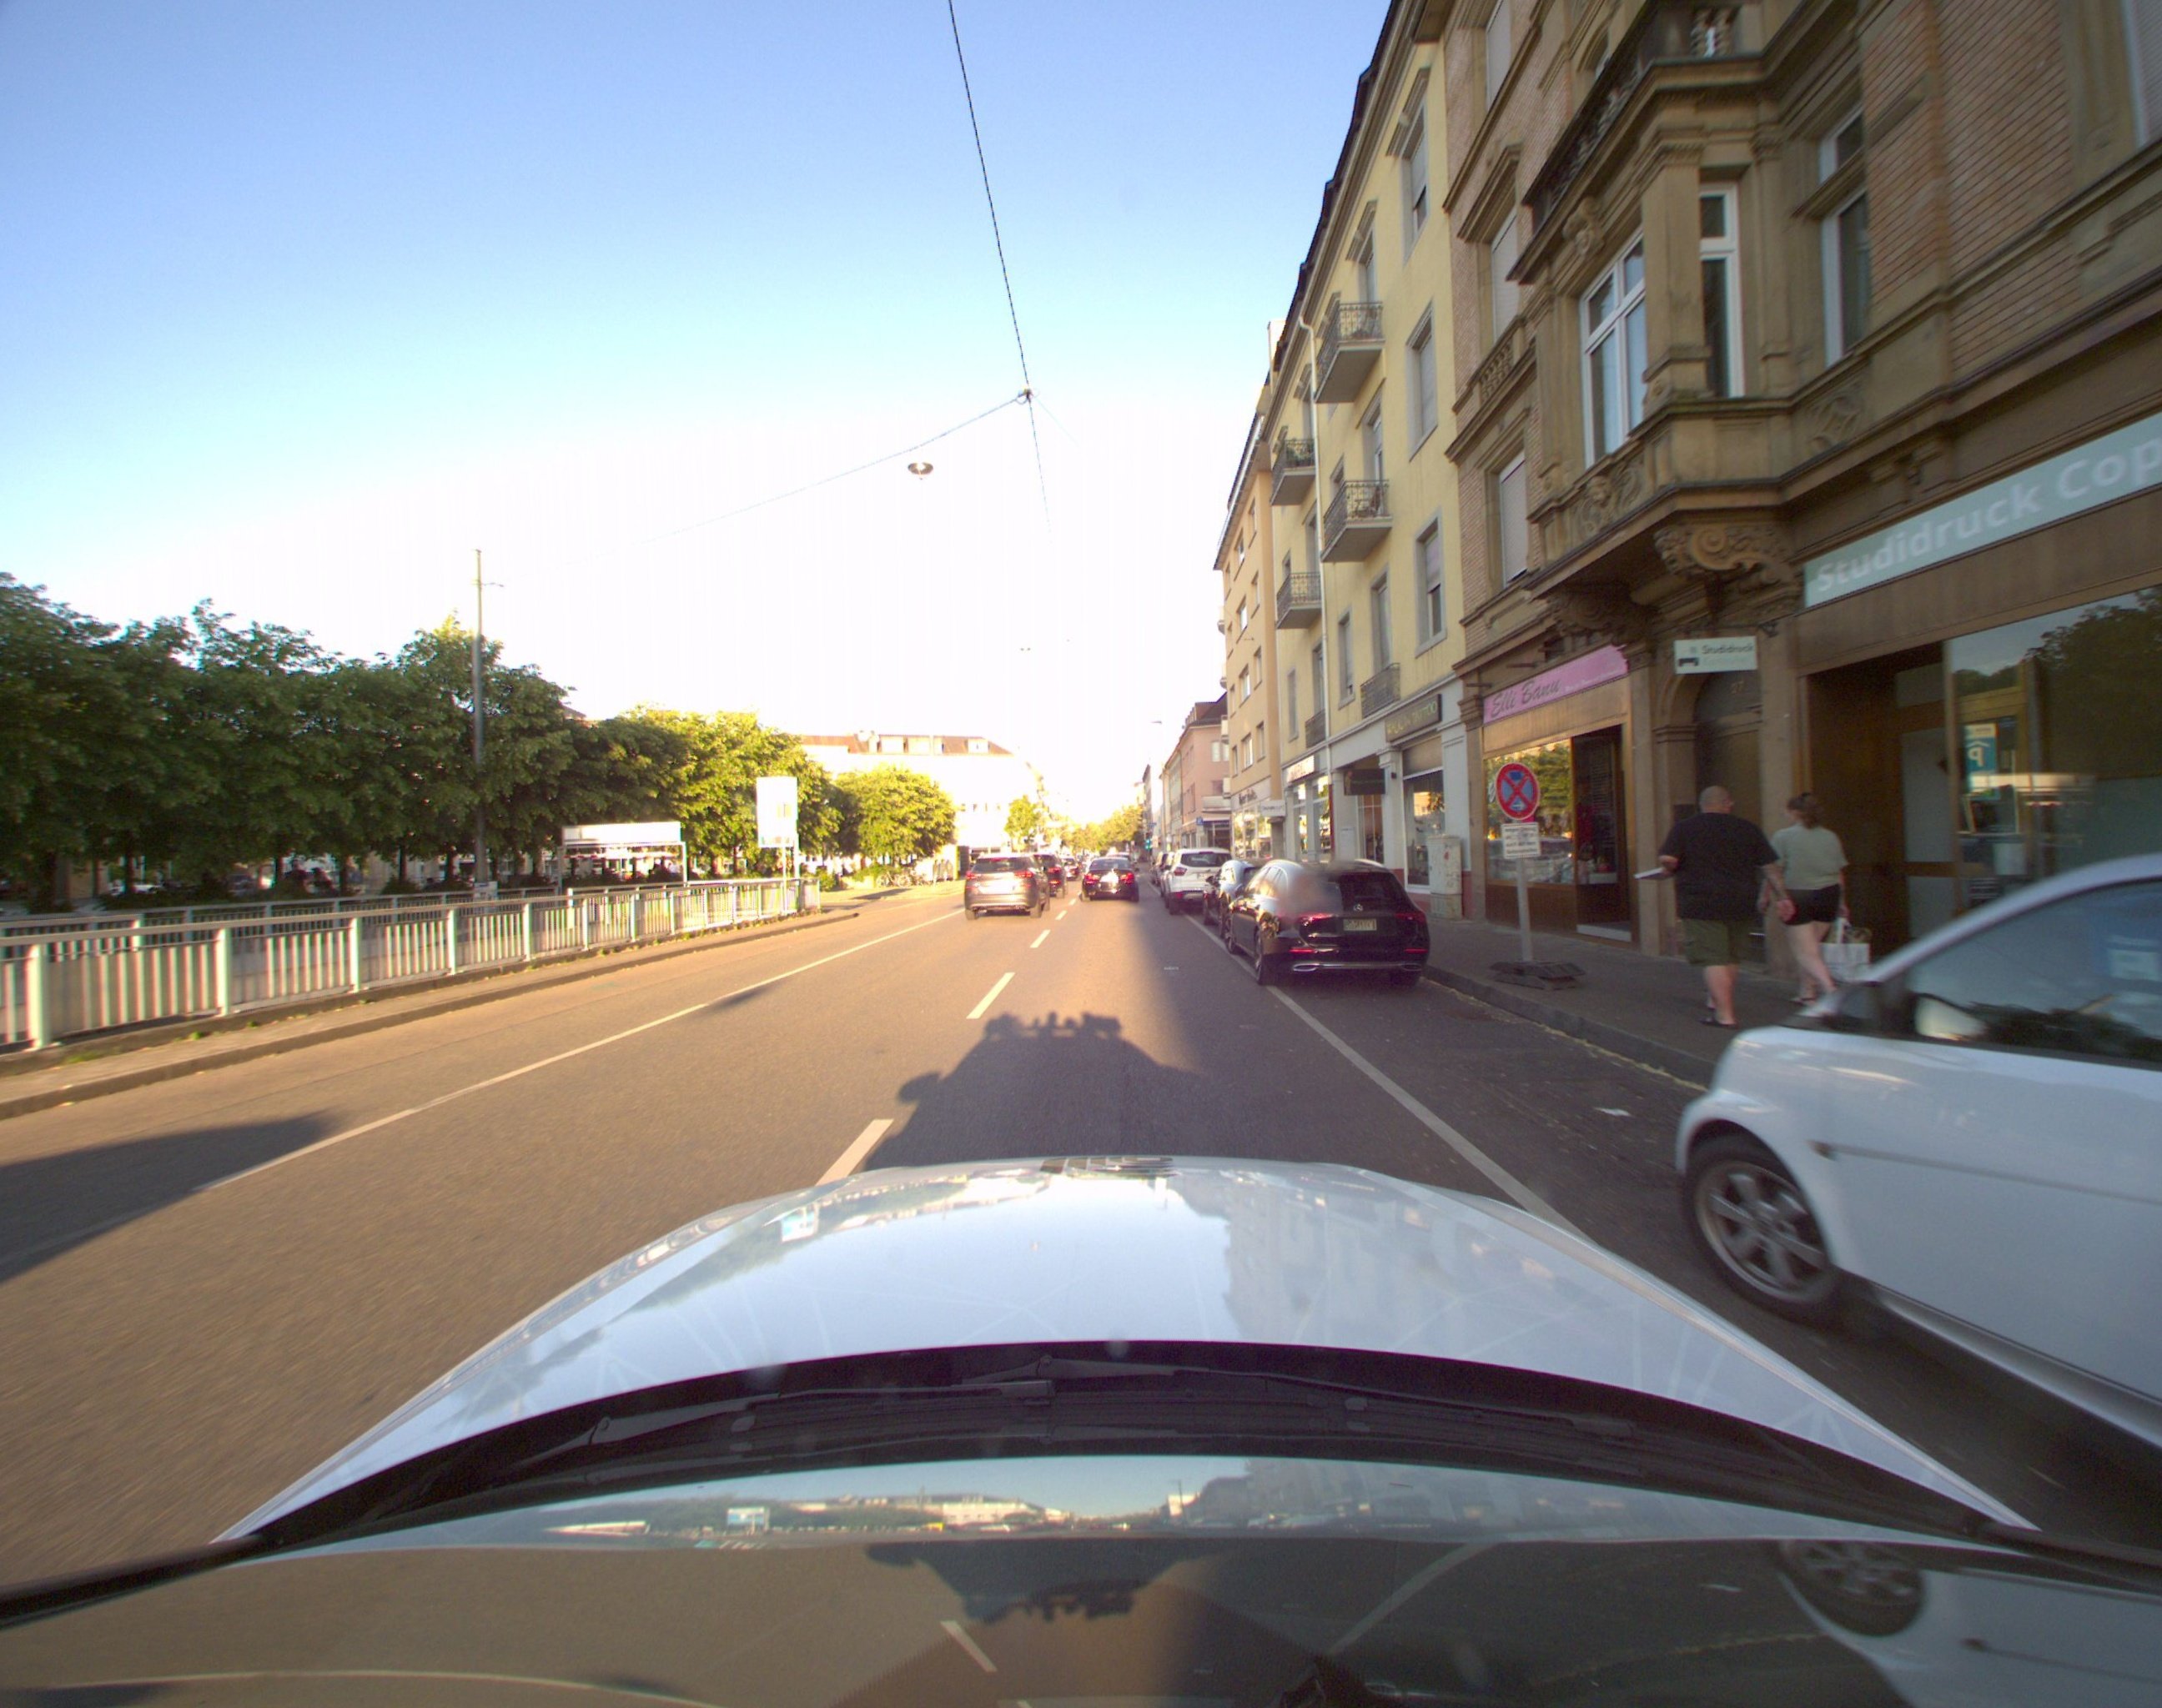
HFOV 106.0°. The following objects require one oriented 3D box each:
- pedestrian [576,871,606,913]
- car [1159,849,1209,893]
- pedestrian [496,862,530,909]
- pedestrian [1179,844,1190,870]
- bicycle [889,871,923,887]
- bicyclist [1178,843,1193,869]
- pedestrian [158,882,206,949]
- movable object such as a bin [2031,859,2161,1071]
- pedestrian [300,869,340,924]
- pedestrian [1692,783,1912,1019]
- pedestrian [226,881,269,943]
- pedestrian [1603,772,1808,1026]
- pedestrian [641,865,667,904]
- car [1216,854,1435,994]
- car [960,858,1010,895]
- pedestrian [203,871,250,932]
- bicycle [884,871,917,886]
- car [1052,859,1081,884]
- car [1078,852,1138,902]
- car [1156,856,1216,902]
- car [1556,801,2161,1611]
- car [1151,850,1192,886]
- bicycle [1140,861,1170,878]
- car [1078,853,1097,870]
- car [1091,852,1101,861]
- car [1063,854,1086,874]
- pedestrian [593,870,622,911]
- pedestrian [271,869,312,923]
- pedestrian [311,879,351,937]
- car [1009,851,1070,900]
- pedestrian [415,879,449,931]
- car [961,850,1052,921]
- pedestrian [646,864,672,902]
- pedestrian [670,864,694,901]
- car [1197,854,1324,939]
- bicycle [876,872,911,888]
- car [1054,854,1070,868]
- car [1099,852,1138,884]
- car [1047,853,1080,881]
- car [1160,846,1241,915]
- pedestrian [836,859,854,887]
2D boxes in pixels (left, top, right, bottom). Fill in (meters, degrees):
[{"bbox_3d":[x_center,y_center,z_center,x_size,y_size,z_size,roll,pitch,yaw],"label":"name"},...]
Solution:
[{"bbox_3d":[-18.898,1.453,31.410,0.672,1.595,0.680,-1,0,21],"label":"pedestrian"},{"bbox_3d":[4.109,0.671,33.066,1.723,1.652,3.831,0,-1,3],"label":"car"},{"bbox_3d":[-19.681,1.081,28.218,0.672,1.595,0.680,-1,0,21],"label":"pedestrian"},{"bbox_3d":[7.393,0.209,58.100,0.697,1.812,0.634,-1,0,-2],"label":"pedestrian"},{"bbox_3d":[-10.028,1.435,46.645,1.820,0.853,0.483,1,0,-2],"label":"bicycle"},{"bbox_3d":[7.176,0.152,56.033,0.823,1.777,0.612,-1,0,29],"label":"bicyclist"},{"bbox_3d":[-22.321,1.517,20.229,0.672,1.595,0.571,-1,0,21],"label":"pedestrian"},{"bbox_3d":[6.067,0.588,4.531,0.771,1.070,0.618,-4,0,1],"label":"movable object such as a bin"},{"bbox_3d":[-22.592,1.258,24.178,0.783,1.595,0.571,-1,0,21],"label":"pedestrian"},{"bbox_3d":[5.757,0.351,6.585,0.770,1.711,1.042,-4,0,1],"label":"pedestrian"},{"bbox_3d":[-22.065,1.519,21.562,0.672,1.595,0.571,-1,0,21],"label":"pedestrian"},{"bbox_3d":[4.932,0.333,6.514,0.770,1.827,1.011,-4,0,1],"label":"pedestrian"},{"bbox_3d":[-17.835,1.258,34.022,0.783,1.595,0.571,-1,0,21],"label":"pedestrian"},{"bbox_3d":[2.910,0.750,10.726,1.723,1.448,4.527,0,-1,2],"label":"car"},{"bbox_3d":[-4.538,1.021,38.891,1.685,1.552,3.952,-4,0,2],"label":"car"},{"bbox_3d":[-22.835,1.256,21.766,0.783,1.595,0.571,-1,0,21],"label":"pedestrian"},{"bbox_3d":[-10.535,1.430,47.570,1.820,0.853,0.483,1,0,-2],"label":"bicycle"},{"bbox_3d":[-0.928,1.154,55.357,1.773,1.547,4.001,-1,0,1],"label":"car"},{"bbox_3d":[0.927,0.739,27.793,1.890,1.581,4.001,0,0,1],"label":"car"},{"bbox_3d":[3.471,0.796,27.570,1.722,1.450,4.316,0,-1,3],"label":"car"},{"bbox_3d":[2.832,0.662,2.018,1.525,1.536,3.286,-1,-1,3],"label":"car"},{"bbox_3d":[4.325,0.656,39.286,1.723,1.652,3.973,0,-1,3],"label":"car"},{"bbox_3d":[4.463,0.952,49.245,1.756,0.967,0.491,-1,0,7],"label":"bicycle"},{"bbox_3d":[0.669,0.744,80.245,1.773,1.547,4.001,-1,0,1],"label":"car"},{"bbox_3d":[2.664,0.418,144.741,1.773,1.547,4.001,-1,0,1],"label":"car"},{"bbox_3d":[-0.483,0.835,68.348,1.773,1.547,4.001,-1,0,1],"label":"car"},{"bbox_3d":[-18.643,1.438,32.055,0.672,1.595,0.680,-1,0,21],"label":"pedestrian"},{"bbox_3d":[-23.602,1.247,24.348,0.783,1.595,0.571,-1,0,21],"label":"pedestrian"},{"bbox_3d":[-21.292,1.527,23.125,0.672,1.595,0.571,-1,0,21],"label":"pedestrian"},{"bbox_3d":[-1.469,0.739,30.233,1.890,1.649,4.105,-1,0,1],"label":"car"},{"bbox_3d":[-20.529,1.599,25.764,0.672,1.595,0.571,-1,0,21],"label":"pedestrian"},{"bbox_3d":[-1.862,0.754,21.605,1.890,1.649,4.105,-1,0,1],"label":"car"},{"bbox_3d":[-18.154,1.241,35.051,0.783,1.595,0.571,-1,0,21],"label":"pedestrian"},{"bbox_3d":[-17.730,1.258,36.190,0.783,1.595,0.571,-1,0,21],"label":"pedestrian"},{"bbox_3d":[3.363,0.740,16.074,1.723,1.448,4.476,0,-1,2],"label":"car"},{"bbox_3d":[-10.316,1.433,44.848,1.820,0.853,0.483,1,0,-2],"label":"bicycle"},{"bbox_3d":[-2.325,0.848,100.617,1.685,1.552,3.952,-4,0,2],"label":"car"},{"bbox_3d":[1.891,0.702,42.043,1.890,1.581,4.001,0,0,1],"label":"car"},{"bbox_3d":[-0.992,0.737,48.471,1.773,1.547,4.001,-1,0,1],"label":"car"},{"bbox_3d":[3.104,0.662,21.816,1.723,1.651,4.287,0,-1,2],"label":"car"},{"bbox_3d":[-14.014,1.127,48.404,0.783,1.595,0.571,-1,0,21],"label":"pedestrian"}]
